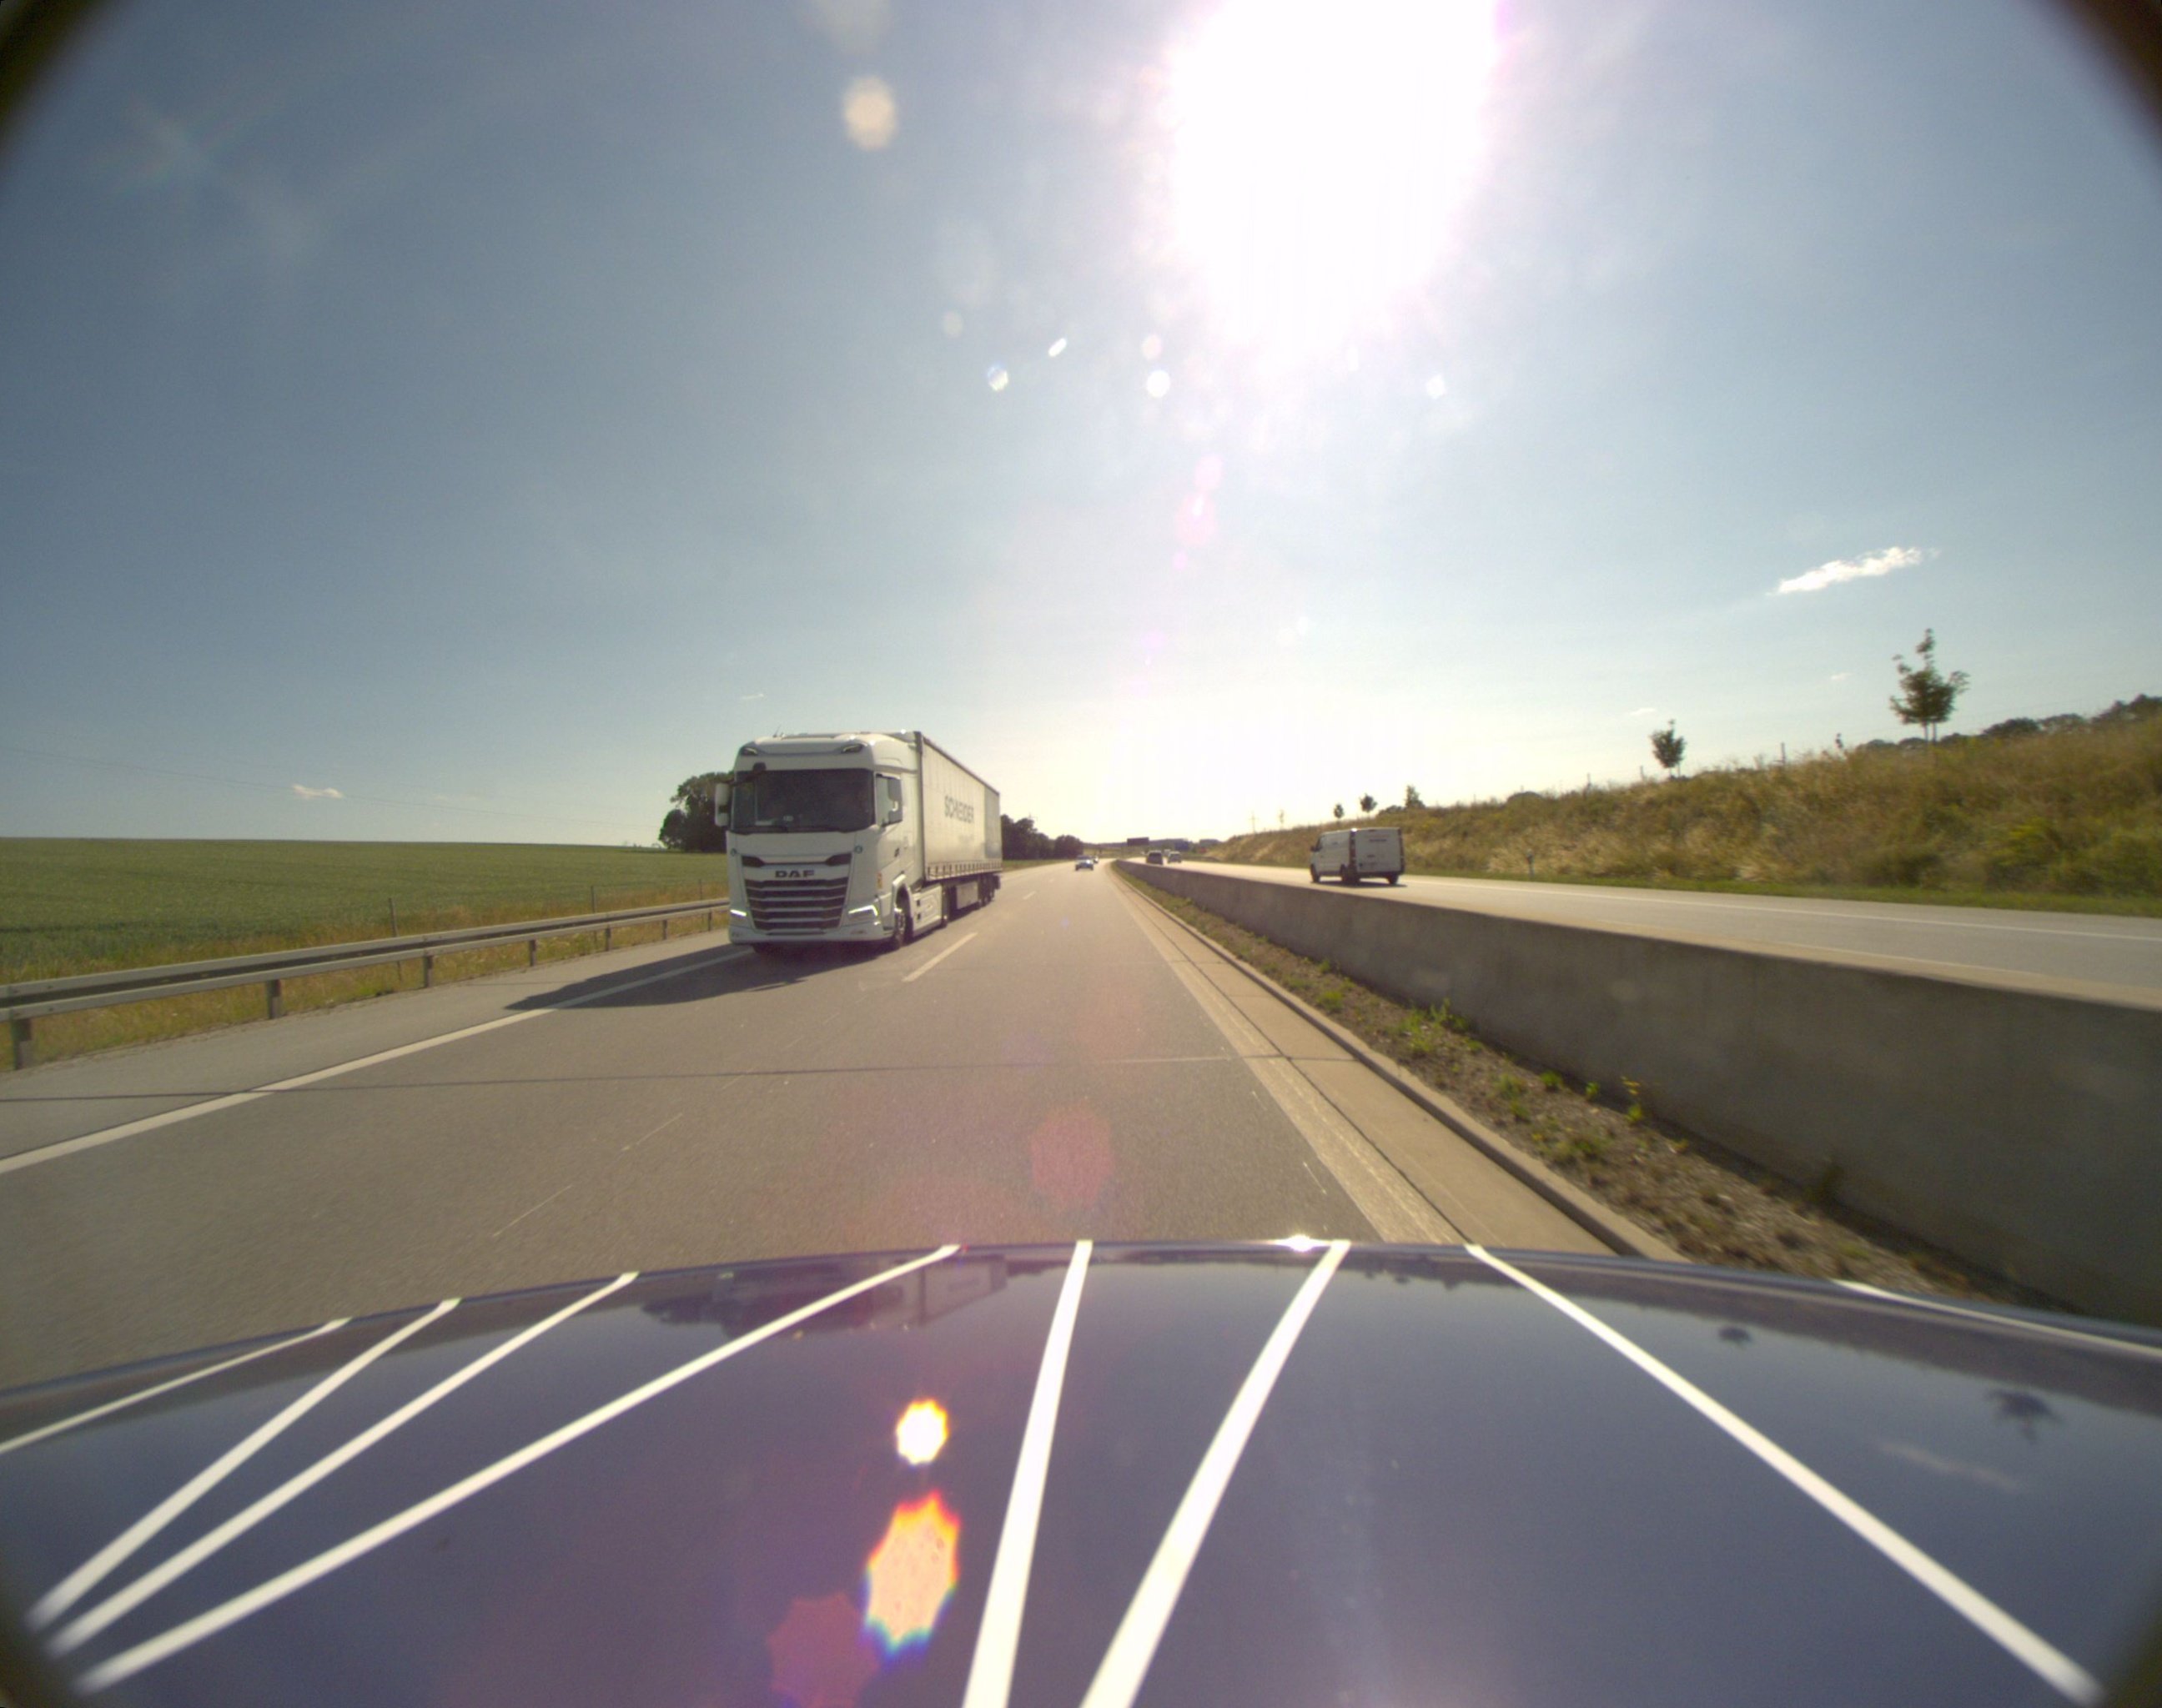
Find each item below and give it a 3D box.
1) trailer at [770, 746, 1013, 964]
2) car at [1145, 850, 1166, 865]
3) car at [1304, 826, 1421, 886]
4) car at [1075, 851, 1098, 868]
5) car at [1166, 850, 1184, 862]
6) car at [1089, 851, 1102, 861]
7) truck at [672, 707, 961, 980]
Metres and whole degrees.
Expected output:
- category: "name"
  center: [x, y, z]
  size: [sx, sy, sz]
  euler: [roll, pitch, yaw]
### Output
- category: "trailer"
  center: [-4.463, -0.008, 22.848]
  size: [3.184, 4.269, 15.459]
  euler: [-1, 0, 1]
- category: "car"
  center: [8.345, 0.361, 85.222]
  size: [1.884, 1.566, 4.565]
  euler: [-2, 0, 1]
- category: "car"
  center: [10.244, 0.048, 28.241]
  size: [2.239, 1.923, 5.794]
  euler: [-1, 0, 1]
- category: "car"
  center: [0.589, 0.533, 77.348]
  size: [1.891, 1.565, 3.793]
  euler: [-2, 0, 5]
- category: "car"
  center: [12.401, 0.196, 100.488]
  size: [1.884, 1.493, 4.565]
  euler: [-2, 0, 1]
- category: "car"
  center: [2.596, 0.306, 131.452]
  size: [1.891, 1.565, 3.793]
  euler: [-2, 0, 5]
- category: "truck"
  center: [-4.480, -0.164, 14.553]
  size: [3.090, 3.991, 6.189]
  euler: [-3, 0, 1]
